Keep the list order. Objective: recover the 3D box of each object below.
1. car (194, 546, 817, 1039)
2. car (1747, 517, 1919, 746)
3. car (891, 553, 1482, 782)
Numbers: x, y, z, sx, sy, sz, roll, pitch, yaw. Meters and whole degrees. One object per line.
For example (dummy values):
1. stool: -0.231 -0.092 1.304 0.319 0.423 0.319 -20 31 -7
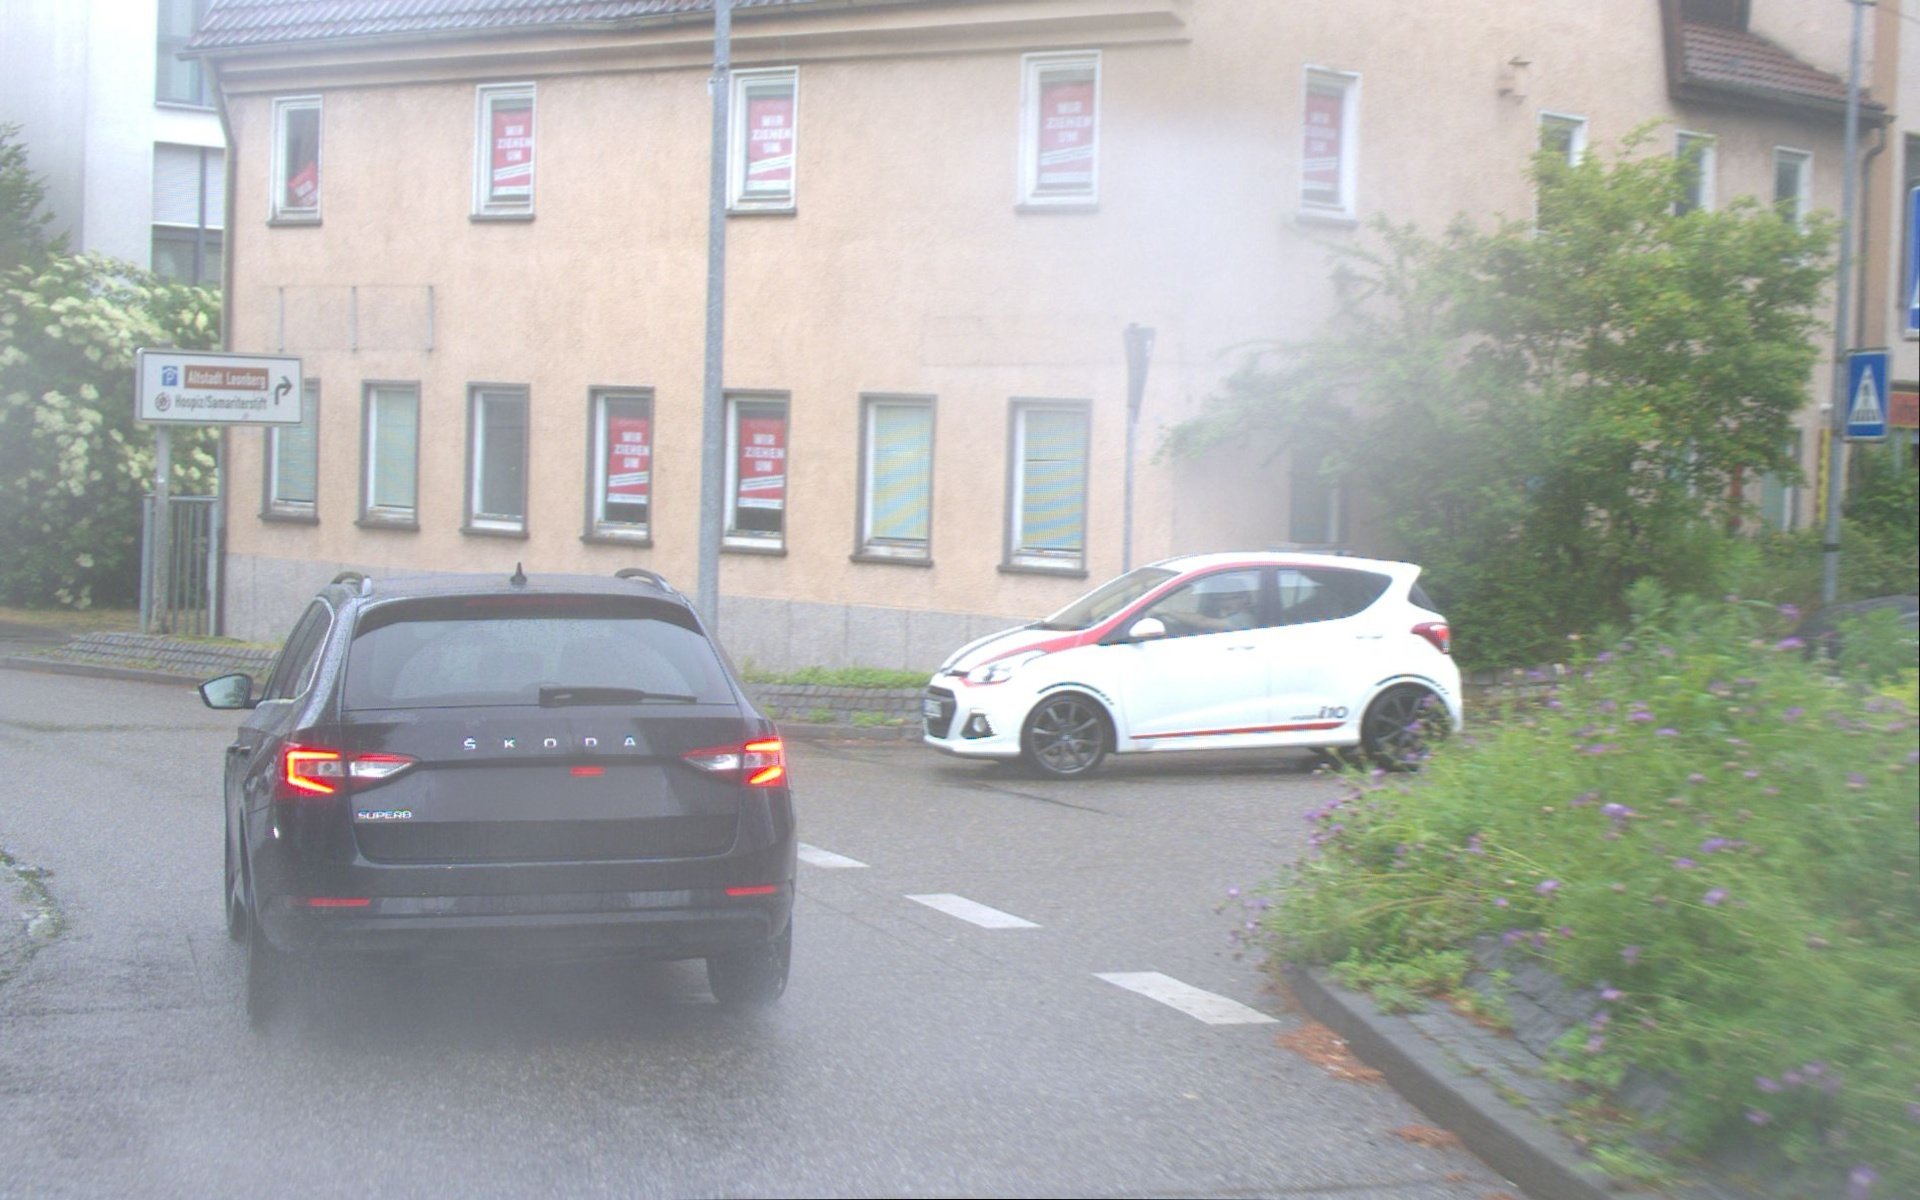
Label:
1. car: -1.834 0.609 12.591 1.781 1.478 4.247 0 -1 -14
2. car: 8.173 0.179 25.171 4.403 1.567 1.720 -1 2 -15
3. car: 1.524 0.429 23.763 3.750 1.448 1.713 0 2 -12
